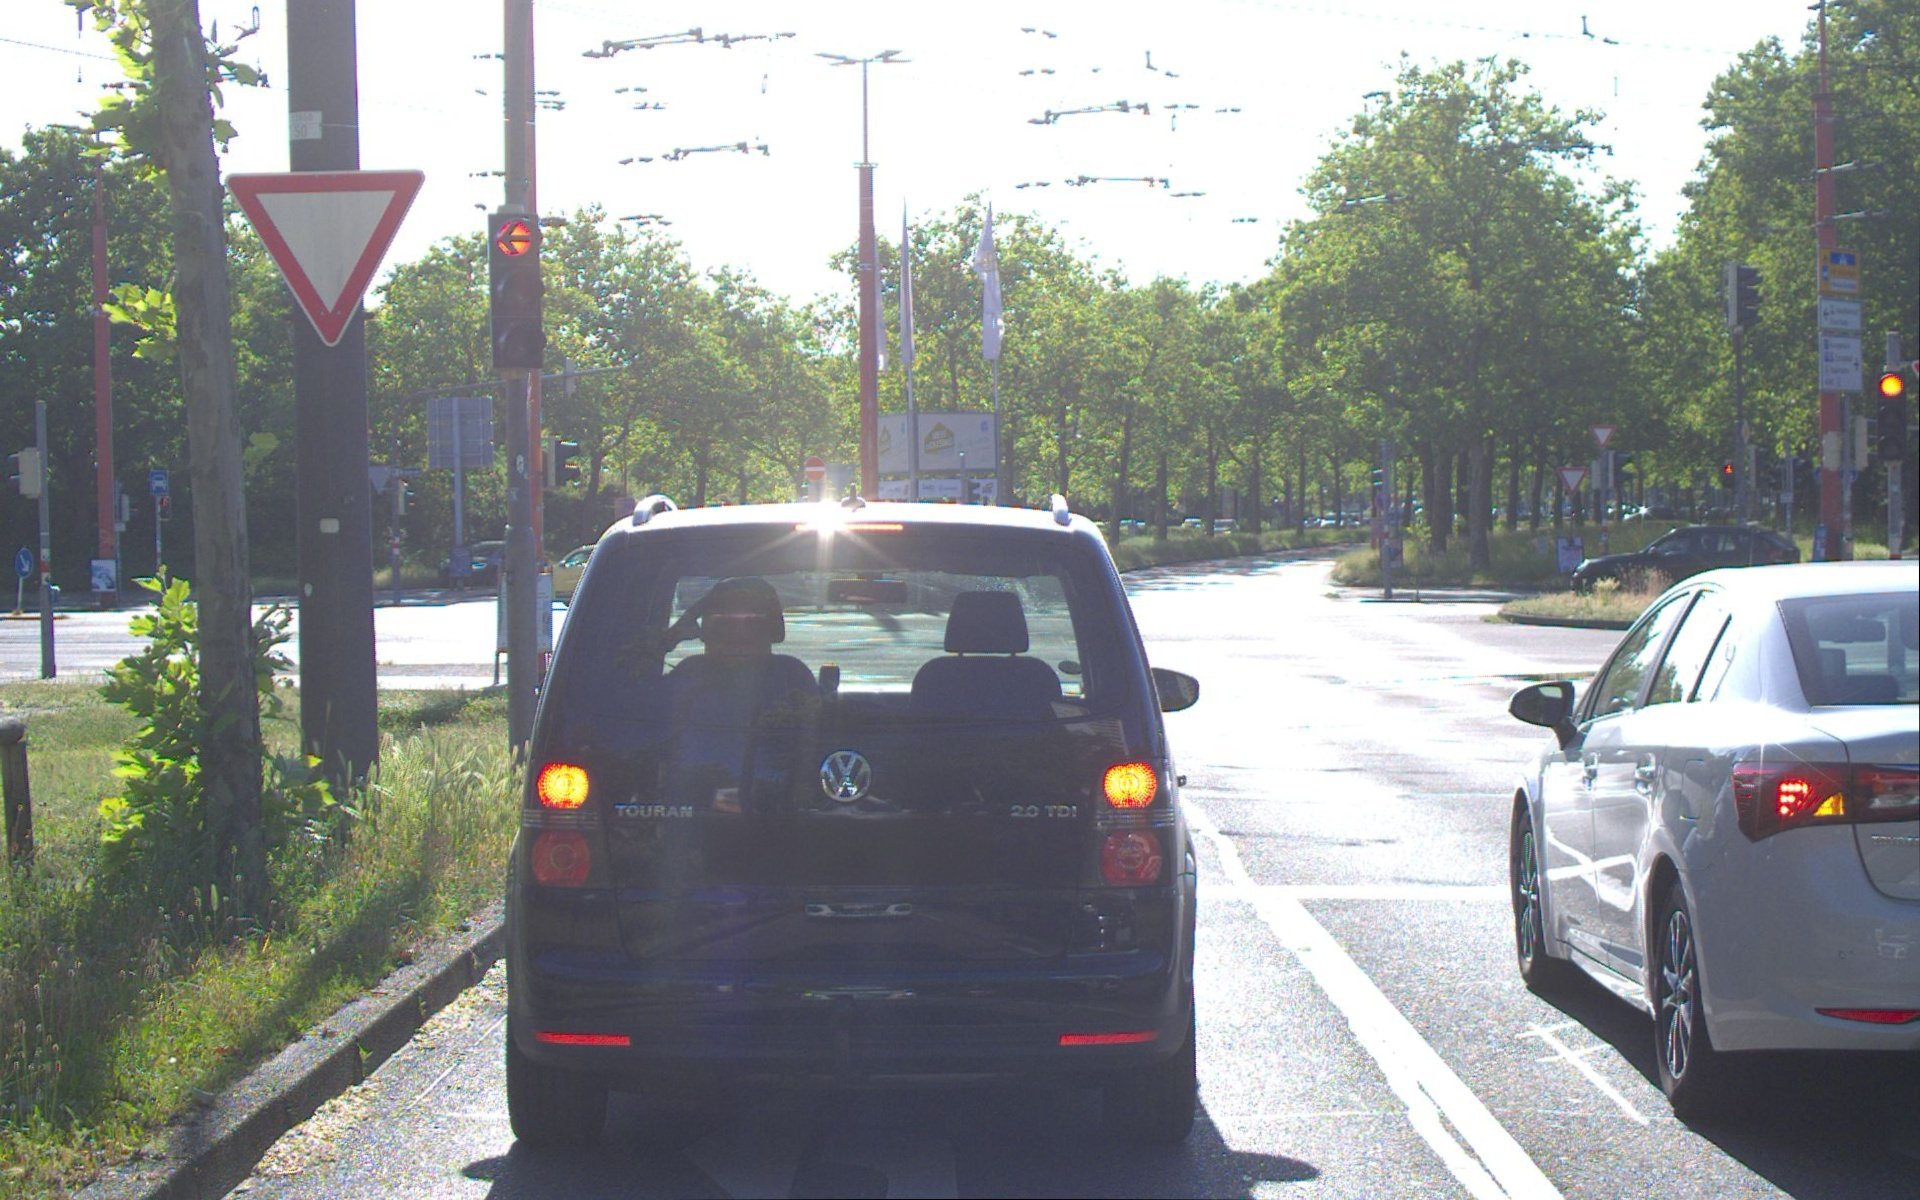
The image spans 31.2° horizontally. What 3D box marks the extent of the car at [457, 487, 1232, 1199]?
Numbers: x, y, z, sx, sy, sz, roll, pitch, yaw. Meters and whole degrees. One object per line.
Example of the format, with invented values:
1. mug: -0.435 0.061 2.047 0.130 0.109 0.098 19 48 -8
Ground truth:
1. car: -0.244 0.533 9.968 1.738 1.597 4.326 1 1 1

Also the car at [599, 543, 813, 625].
1. car: -5.335 -0.360 72.281 4.209 1.675 1.654 1 1 24

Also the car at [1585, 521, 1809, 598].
1. car: 14.265 -0.800 66.569 3.920 1.452 1.654 1 1 29

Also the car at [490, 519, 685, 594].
1. car: -8.511 -0.999 78.501 4.209 1.675 1.654 1 1 26

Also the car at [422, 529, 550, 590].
1. car: -13.847 -1.200 100.678 1.654 1.744 4.126 1 1 27

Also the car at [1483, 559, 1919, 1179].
1. car: 2.766 0.615 10.146 1.799 1.435 4.326 1 1 1

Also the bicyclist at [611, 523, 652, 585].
1. bicyclist: -10.079 -1.402 105.437 0.977 1.897 1.050 0 1 12
